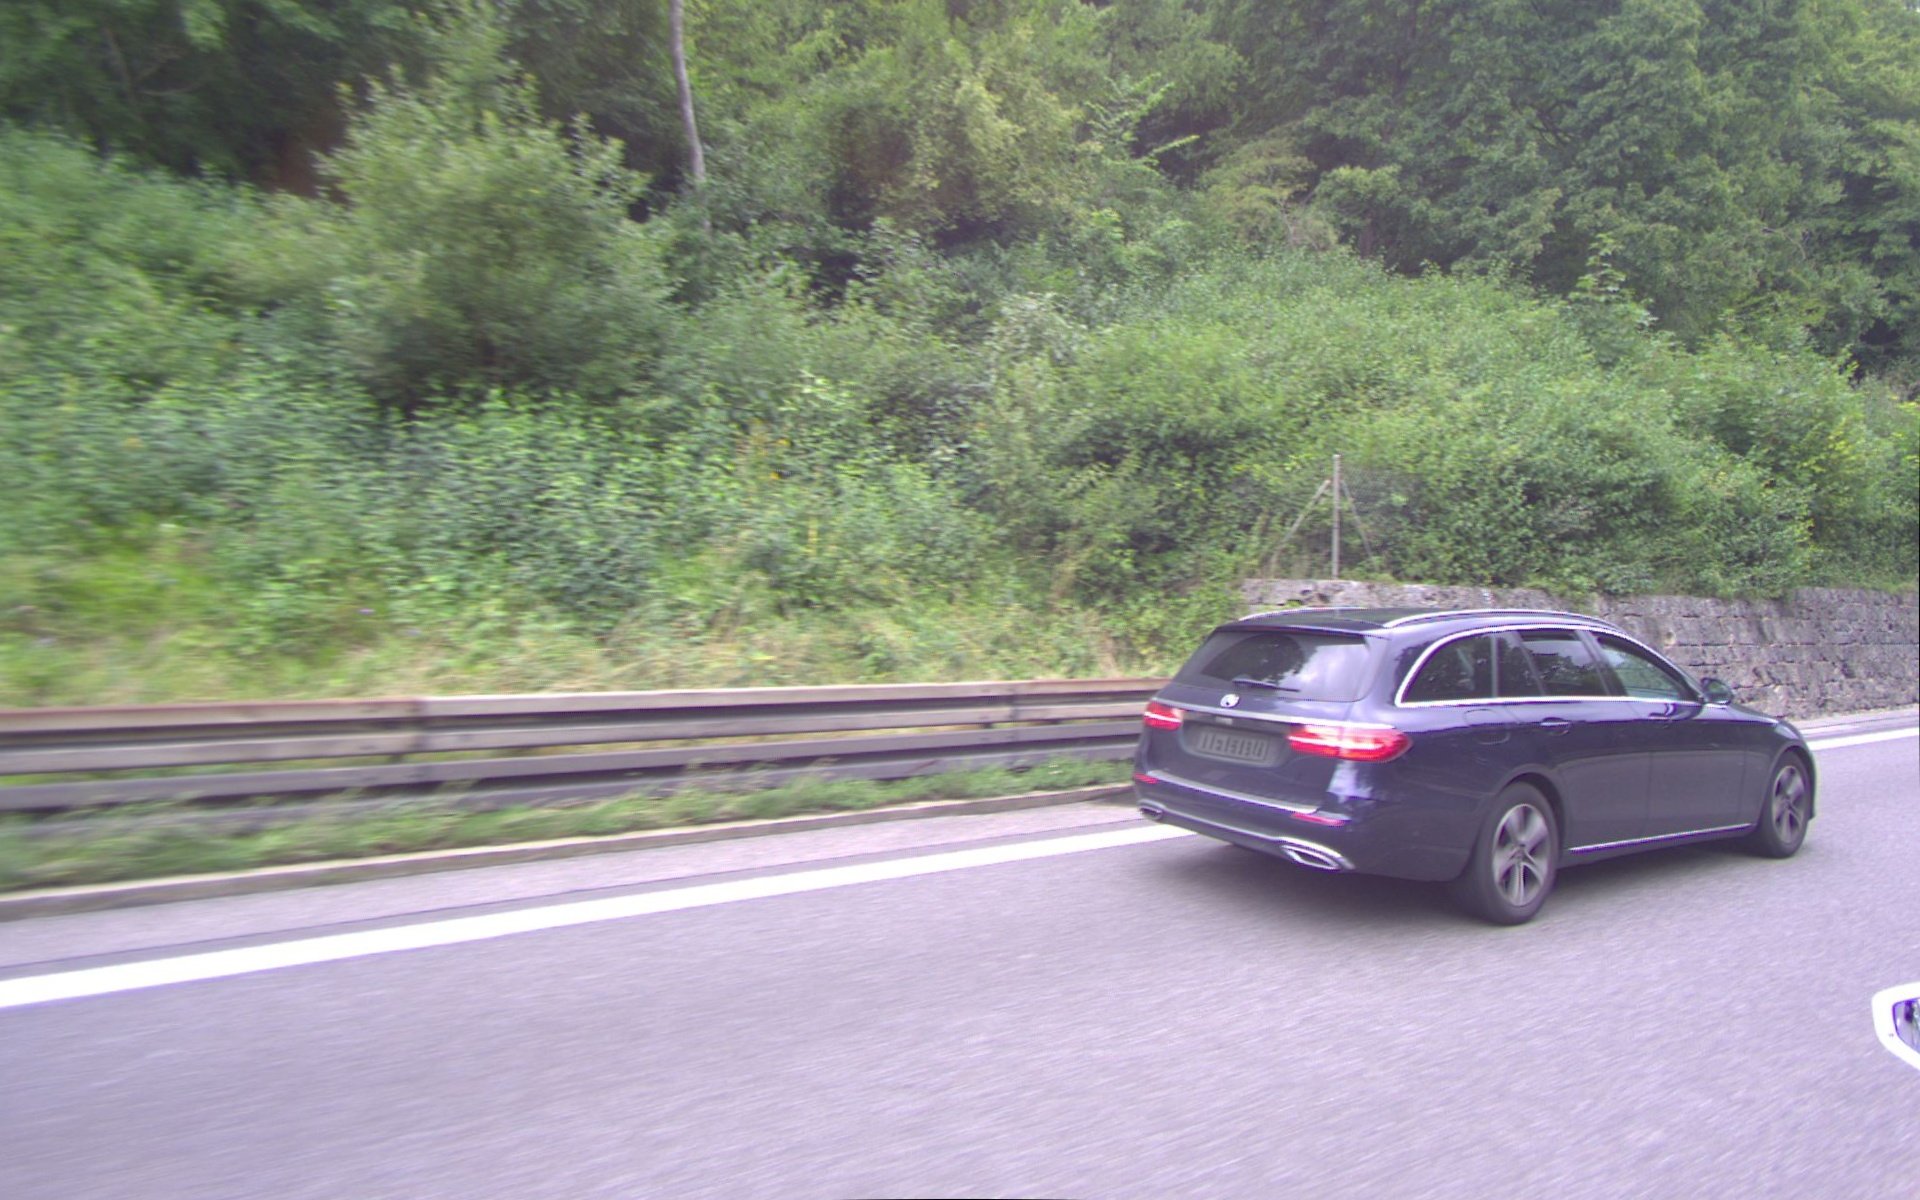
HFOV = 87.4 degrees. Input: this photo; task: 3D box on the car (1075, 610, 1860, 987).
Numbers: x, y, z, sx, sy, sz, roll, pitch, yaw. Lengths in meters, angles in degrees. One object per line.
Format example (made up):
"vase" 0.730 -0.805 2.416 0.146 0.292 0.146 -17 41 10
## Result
"car" 3.247 0.825 6.028 5.062 1.483 1.752 1 0 -30
